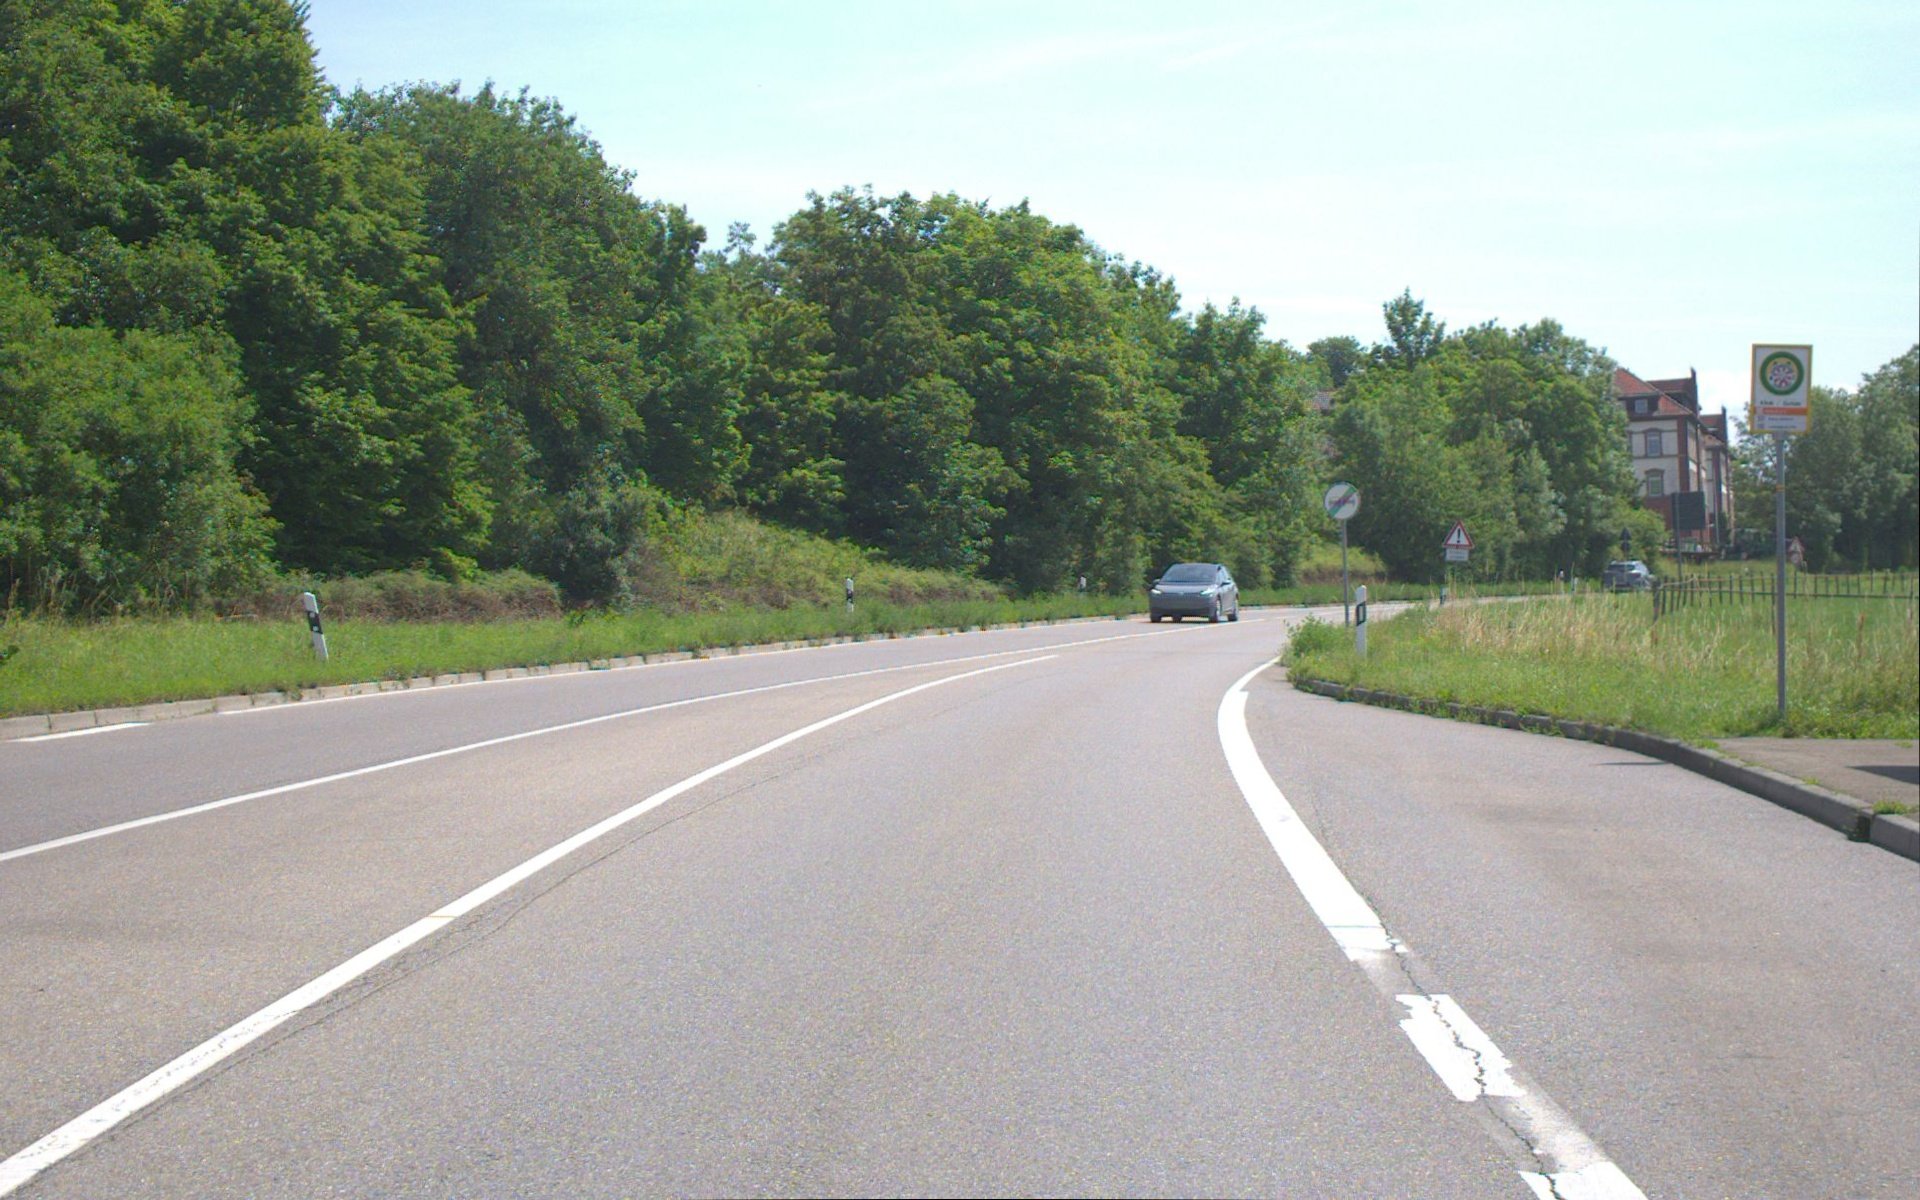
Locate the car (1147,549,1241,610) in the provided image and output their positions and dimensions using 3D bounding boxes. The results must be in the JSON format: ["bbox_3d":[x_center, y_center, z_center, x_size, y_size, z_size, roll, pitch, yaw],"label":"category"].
[{"bbox_3d":[6.153,-0.545,90.112,1.755,1.529,4.226,1,1,13],"label":"car"}]

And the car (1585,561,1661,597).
[{"bbox_3d":[28.920,-0.915,149.862,1.997,1.568,3.993,1,1,31],"label":"car"}]
